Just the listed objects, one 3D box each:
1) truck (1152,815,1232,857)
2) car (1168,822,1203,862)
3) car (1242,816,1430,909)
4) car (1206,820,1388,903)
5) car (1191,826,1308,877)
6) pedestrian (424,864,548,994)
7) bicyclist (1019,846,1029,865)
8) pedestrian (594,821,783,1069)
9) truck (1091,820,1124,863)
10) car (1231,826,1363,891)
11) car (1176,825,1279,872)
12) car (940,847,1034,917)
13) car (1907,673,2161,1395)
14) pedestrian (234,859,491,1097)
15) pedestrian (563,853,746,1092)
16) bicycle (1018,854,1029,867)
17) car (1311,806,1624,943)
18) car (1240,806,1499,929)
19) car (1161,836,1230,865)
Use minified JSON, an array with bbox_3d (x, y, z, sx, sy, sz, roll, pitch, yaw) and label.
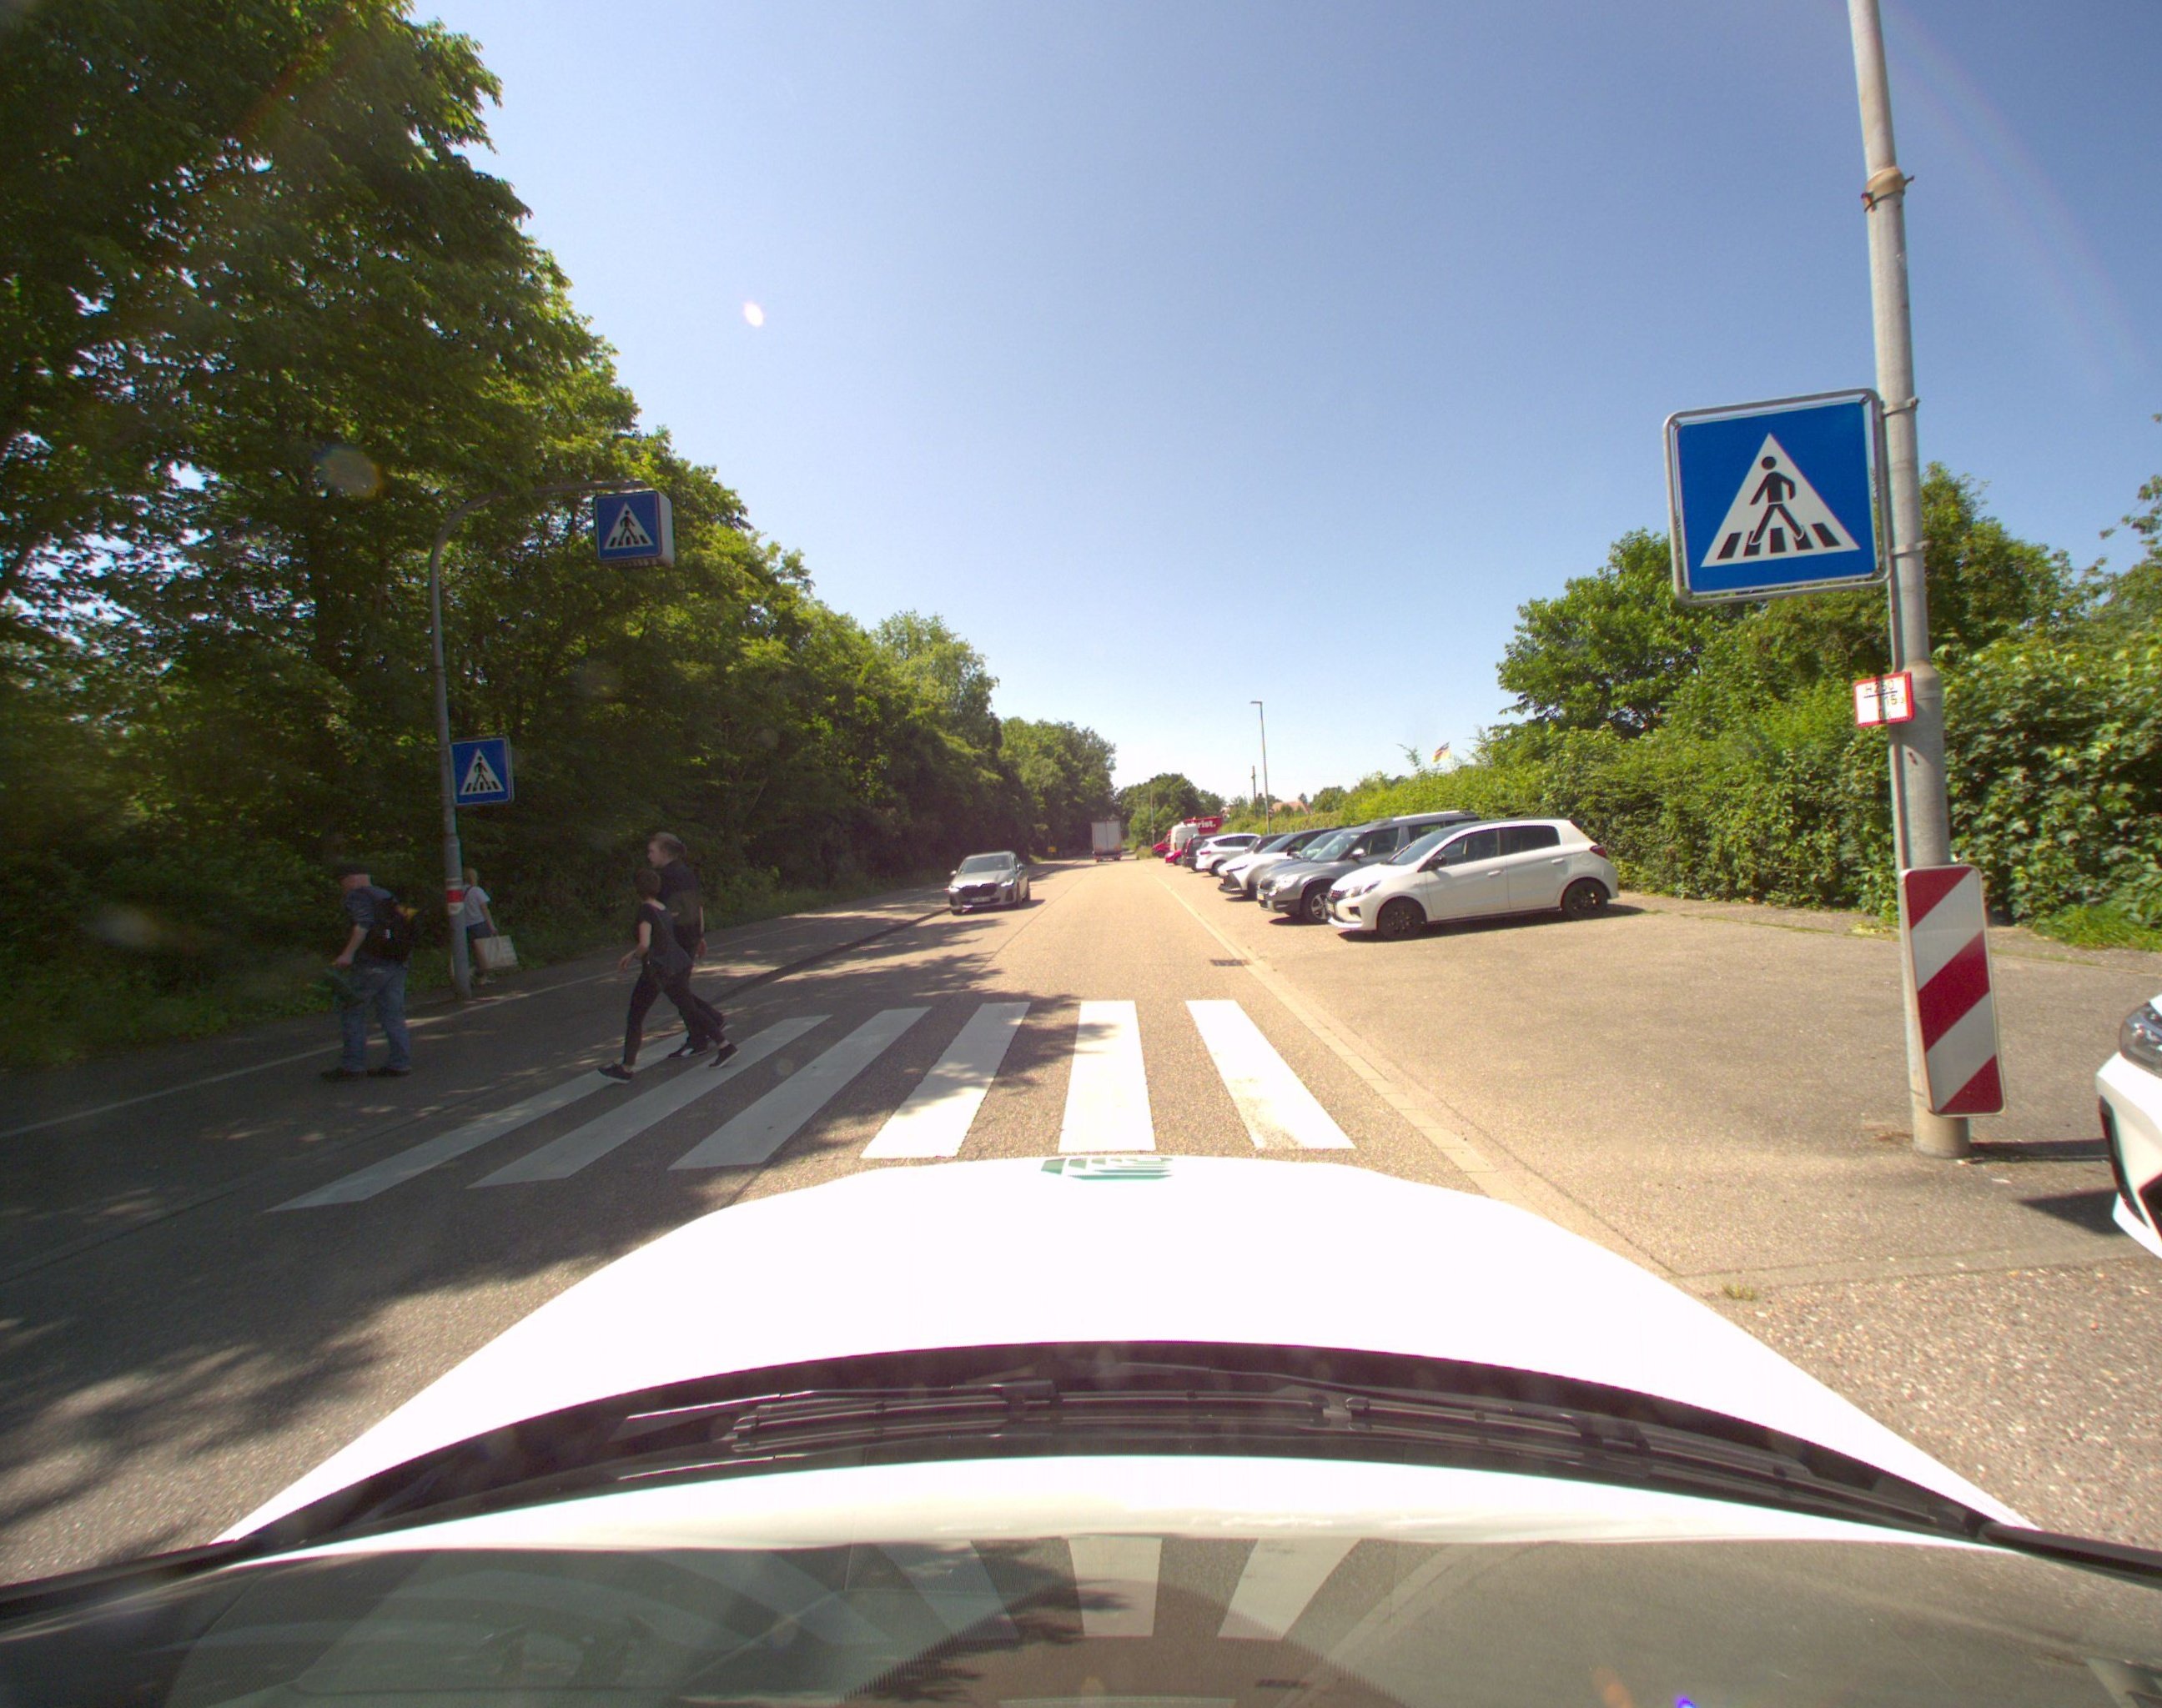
[{"bbox_3d":[10.440,-1.677,76.486,7.089,3.439,2.338,-3,1,12],"label":"truck"},{"bbox_3d":[7.939,-0.953,62.532,1.946,2.733,7.174,-5,1,4],"label":"car"},{"bbox_3d":[5.440,0.159,17.637,3.445,1.527,1.538,-7,1,-3],"label":"car"},{"bbox_3d":[5.349,0.165,20.510,3.955,1.522,1.862,-7,1,-4],"label":"car"},{"bbox_3d":[6.746,-0.113,32.930,4.262,1.578,1.765,-6,1,0],"label":"car"},{"bbox_3d":[-7.948,0.970,10.925,0.929,1.612,0.886,-3,0,1],"label":"pedestrian"},{"bbox_3d":[-4.908,0.123,69.755,0.645,1.565,0.838,-3,0,6],"label":"bicyclist"},{"bbox_3d":[-3.265,0.722,6.889,1.082,1.864,0.782,-6,0,-8],"label":"pedestrian"},{"bbox_3d":[2.728,-1.186,79.902,2.722,3.745,13.257,-2,0,3],"label":"truck"},{"bbox_3d":[6.144,0.107,23.487,3.371,1.503,1.590,-5,1,5],"label":"car"},{"bbox_3d":[6.993,-0.254,39.141,4.442,1.804,1.951,-6,0,-2],"label":"car"},{"bbox_3d":[-2.520,0.698,22.807,1.884,1.532,4.198,-7,0,1],"label":"car"},{"bbox_3d":[4.732,0.254,1.457,4.436,1.729,1.852,-5,-1,2],"label":"car"},{"bbox_3d":[-5.751,0.930,6.615,1.152,1.751,1.023,0,0,-2],"label":"pedestrian"},{"bbox_3d":[-3.193,0.838,6.194,0.893,1.611,0.779,-5,0,-8],"label":"pedestrian"},{"bbox_3d":[-4.885,0.557,69.743,0.558,1.027,1.842,-3,0,7],"label":"bicycle"},{"bbox_3d":[5.411,0.272,11.793,3.671,1.450,1.612,-7,1,5],"label":"car"},{"bbox_3d":[5.099,0.208,14.713,3.952,1.640,1.662,-7,1,-4],"label":"car"},{"bbox_3d":[7.280,-0.215,52.008,4.042,1.434,1.835,-6,1,-1],"label":"car"}]
